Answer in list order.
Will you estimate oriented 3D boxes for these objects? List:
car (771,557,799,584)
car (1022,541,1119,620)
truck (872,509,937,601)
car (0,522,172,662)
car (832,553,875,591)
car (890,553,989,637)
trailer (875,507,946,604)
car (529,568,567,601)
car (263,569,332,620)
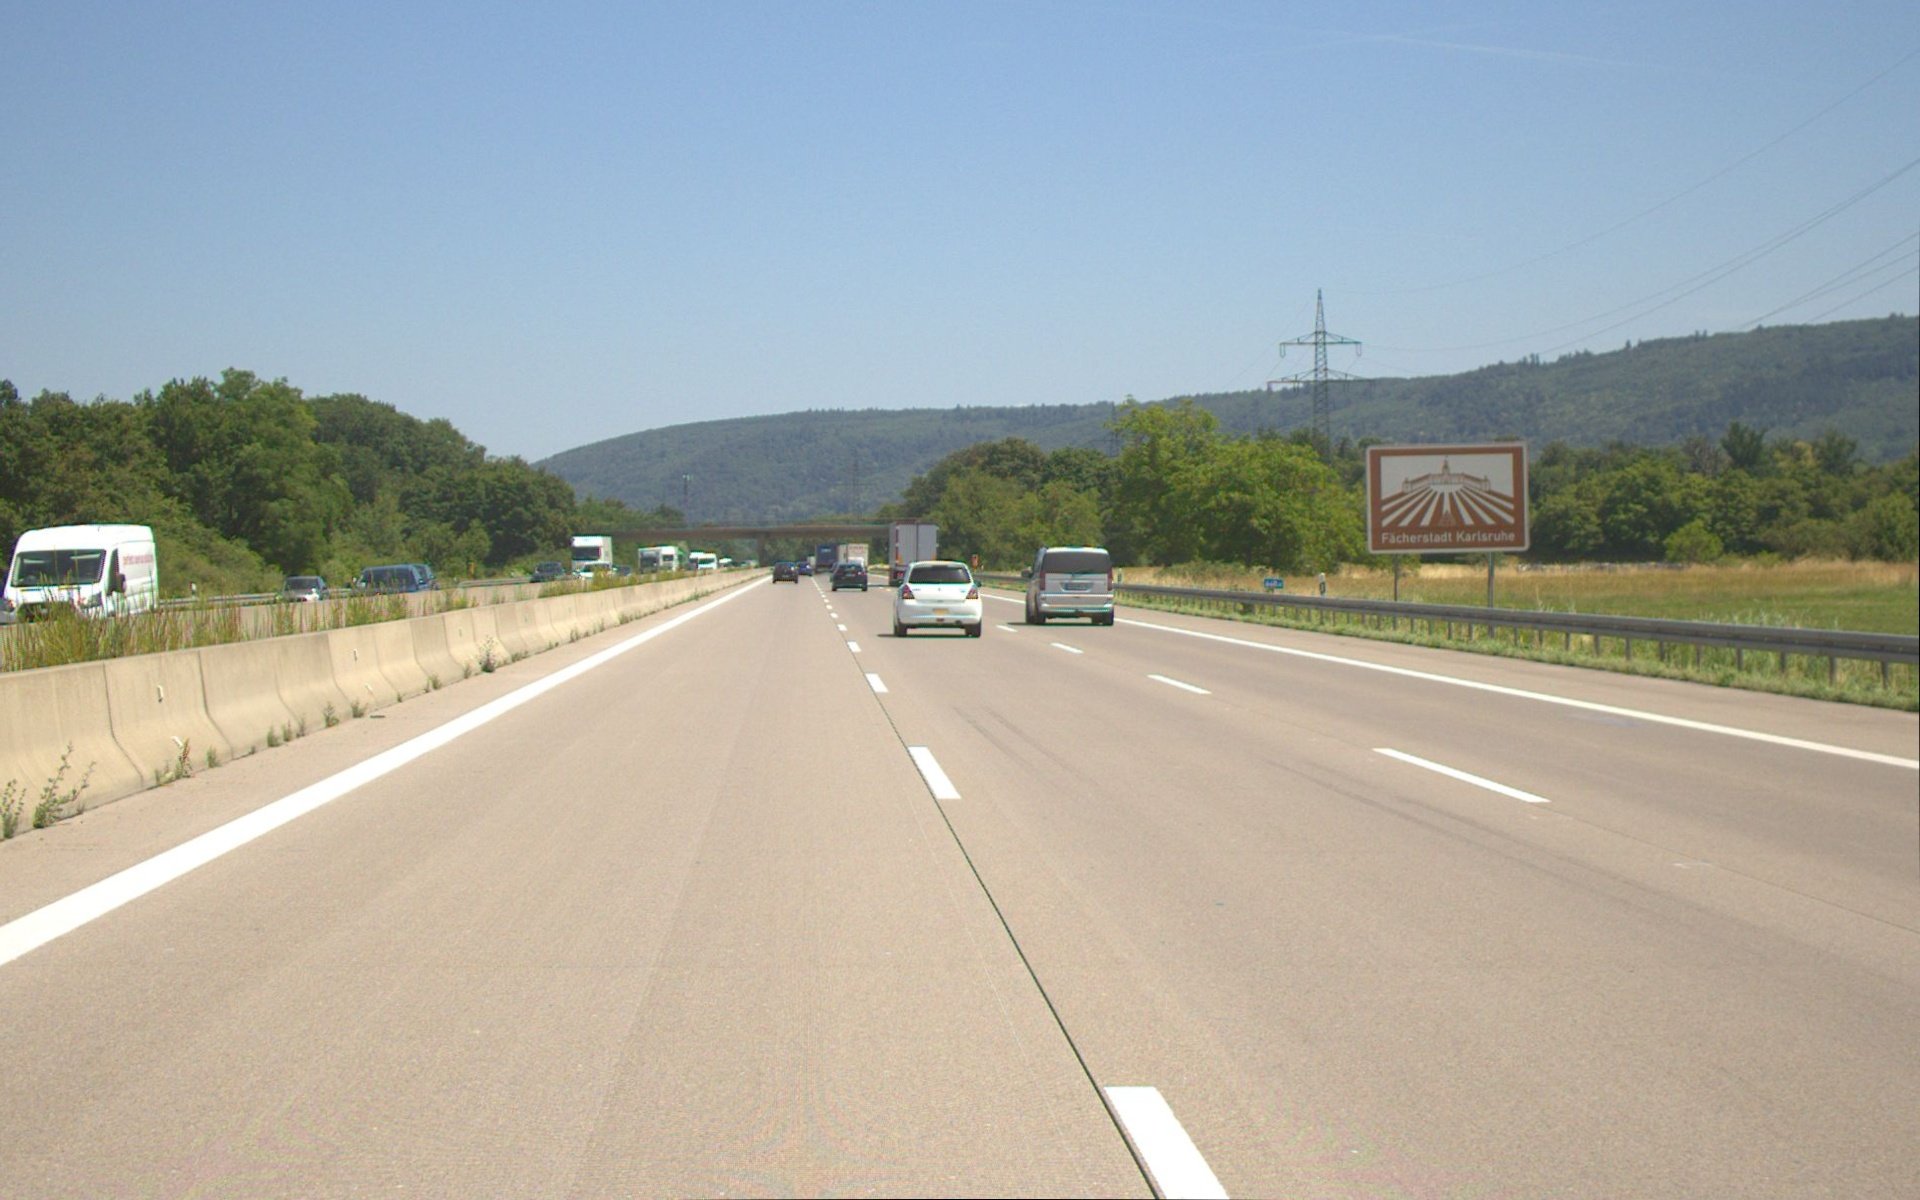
[{"bbox_3d":[-12.091,-2.058,237.403,1.928,1.787,4.001,1,1,-3],"label":"car"},{"bbox_3d":[2.664,-0.505,83.906,1.993,1.842,4.001,1,1,-3],"label":"car"},{"bbox_3d":[-3.575,-2.903,220.753,3.720,5.791,7.055,1,1,-4],"label":"truck"},{"bbox_3d":[-16.635,-0.194,65.215,2.212,2.511,6.125,1,1,-3],"label":"car"},{"bbox_3d":[-5.440,-1.450,175.444,1.993,1.842,4.001,3,1,-4],"label":"car"},{"bbox_3d":[-0.442,-0.129,69.818,1.819,1.656,4.001,0,1,-3],"label":"car"},{"bbox_3d":[-3.136,-2.805,214.723,3.720,5.791,12.163,1,1,-4],"label":"trailer"},{"bbox_3d":[-23.671,-0.905,197.453,1.993,1.831,4.817,1,1,-5],"label":"car"},{"bbox_3d":[-23.771,-0.212,123.411,1.993,1.777,4.001,1,1,-5],"label":"car"}]
